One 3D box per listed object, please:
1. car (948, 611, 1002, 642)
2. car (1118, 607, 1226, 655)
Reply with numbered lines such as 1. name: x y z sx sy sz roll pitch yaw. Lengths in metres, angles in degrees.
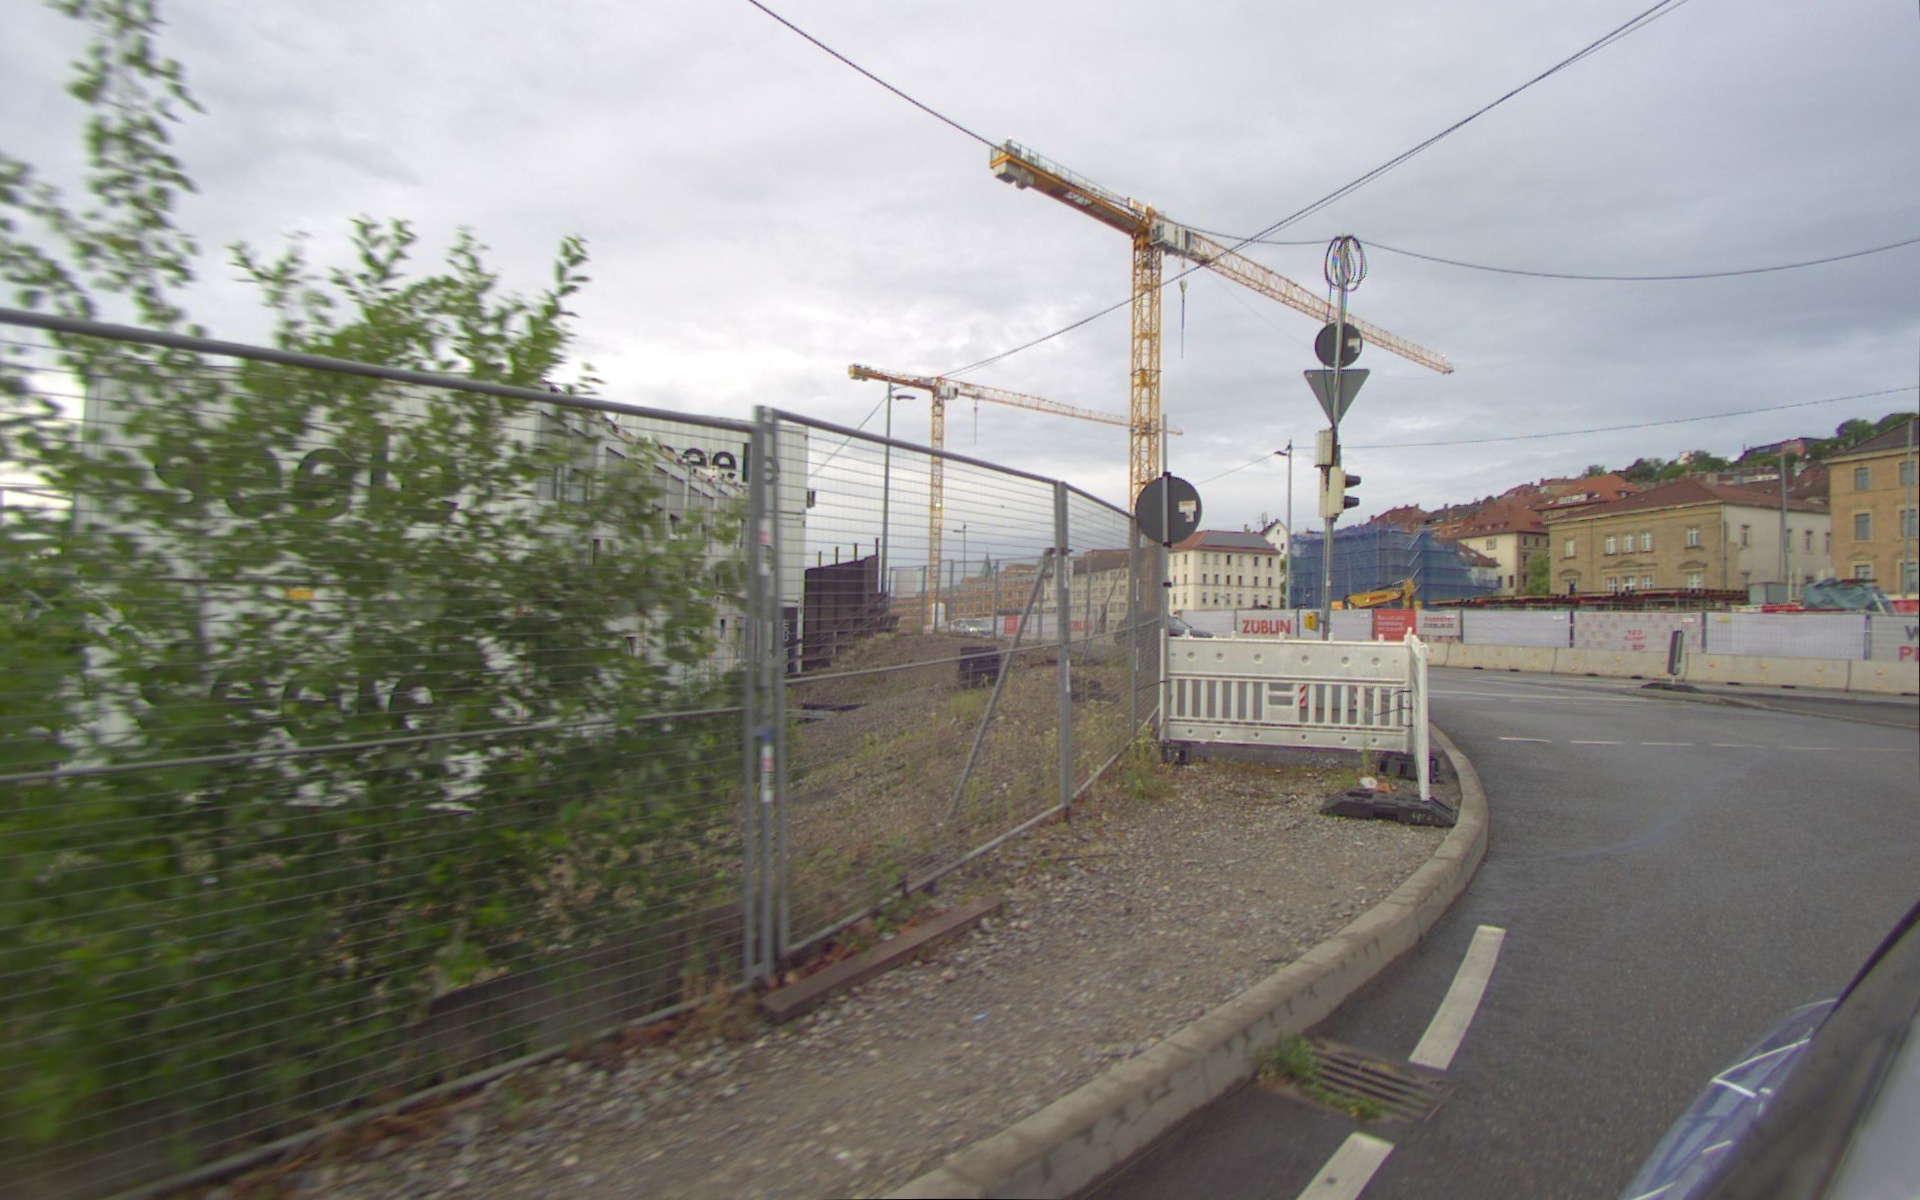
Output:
1. car: 0.809 1.495 58.174 1.848 1.638 4.121 0 0 -18
2. car: 7.963 1.105 38.346 1.849 1.638 4.118 0 0 -27
